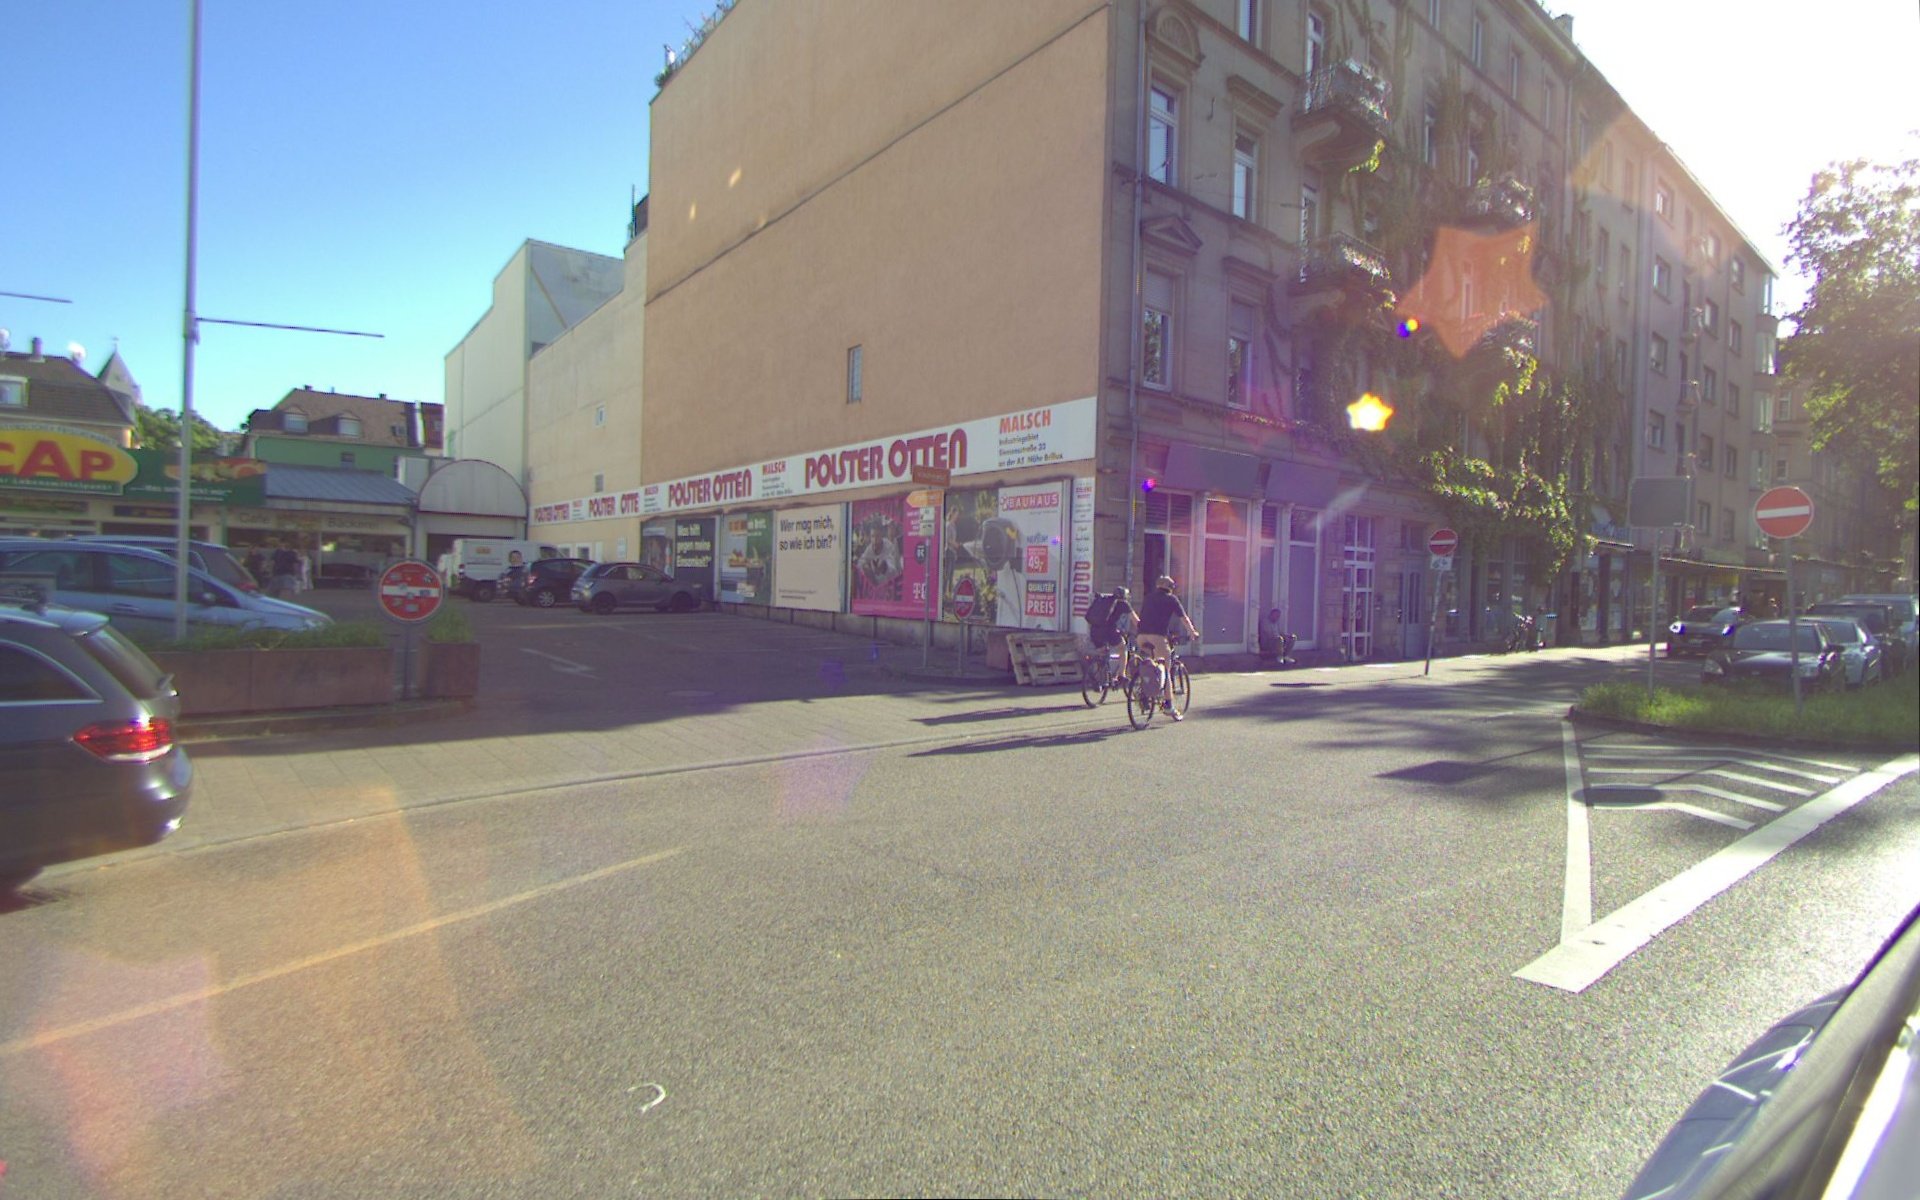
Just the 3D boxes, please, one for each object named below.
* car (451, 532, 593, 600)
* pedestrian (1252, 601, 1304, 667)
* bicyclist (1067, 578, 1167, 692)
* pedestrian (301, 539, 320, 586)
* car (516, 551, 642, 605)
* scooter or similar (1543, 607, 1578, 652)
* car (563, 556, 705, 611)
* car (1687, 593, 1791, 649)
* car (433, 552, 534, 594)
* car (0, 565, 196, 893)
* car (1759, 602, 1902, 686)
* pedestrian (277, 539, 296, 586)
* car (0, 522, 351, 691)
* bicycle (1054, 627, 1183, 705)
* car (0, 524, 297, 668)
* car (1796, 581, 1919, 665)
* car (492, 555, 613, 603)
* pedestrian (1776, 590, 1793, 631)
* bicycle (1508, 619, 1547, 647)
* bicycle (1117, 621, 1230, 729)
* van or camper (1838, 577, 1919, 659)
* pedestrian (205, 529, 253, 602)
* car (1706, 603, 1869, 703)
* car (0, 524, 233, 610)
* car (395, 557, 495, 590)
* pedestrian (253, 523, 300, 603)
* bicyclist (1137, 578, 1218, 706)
[{"bbox_3d":[-16.746,-1.260,38.735,4.785,2.442,1.713,1,1,-30],"label":"car"},{"bbox_3d":[6.400,0.670,20.374,0.701,1.276,0.717,0,1,-40],"label":"pedestrian"},{"bbox_3d":[2.173,0.458,13.989,1.161,1.463,0.678,1,5,-41],"label":"bicyclist"},{"bbox_3d":[-28.893,-1.665,45.022,0.635,2.039,0.562,1,1,-41],"label":"pedestrian"},{"bbox_3d":[-12.448,-0.737,33.127,3.575,1.690,1.682,-1,2,-35],"label":"car"},{"bbox_3d":[17.181,0.819,28.973,0.631,1.188,1.720,2,1,25],"label":"scooter or similar"},{"bbox_3d":[-9.417,-0.501,29.359,3.579,1.481,1.680,-1,2,-39],"label":"car"},{"bbox_3d":[23.228,0.594,30.116,4.305,1.547,1.700,0,0,-42],"label":"car"},{"bbox_3d":[-21.256,-1.212,45.189,3.967,1.759,1.664,1,1,-30],"label":"car"},{"bbox_3d":[-6.438,0.602,4.598,4.650,1.505,1.838,0,4,-40],"label":"car"},{"bbox_3d":[17.687,0.821,20.511,3.932,1.537,1.740,0,-1,-43],"label":"car"},{"bbox_3d":[-29.797,-1.657,44.769,0.635,2.039,0.562,1,1,-41],"label":"pedestrian"},{"bbox_3d":[-9.315,0.036,11.385,3.934,1.665,1.746,0,1,-45],"label":"car"},{"bbox_3d":[2.223,0.887,14.046,1.884,0.931,0.651,0,4,-41],"label":"bicycle"},{"bbox_3d":[-11.256,-0.091,13.371,3.933,1.714,1.747,0,3,-44],"label":"car"},{"bbox_3d":[21.469,0.488,24.001,3.929,1.786,1.868,0,1,-40],"label":"car"},{"bbox_3d":[-13.967,-0.743,34.749,3.575,1.552,1.682,-1,2,-35],"label":"car"},{"bbox_3d":[37.733,0.493,46.319,0.507,1.856,0.469,1,1,-41],"label":"pedestrian"},{"bbox_3d":[15.840,0.909,28.220,1.486,0.714,0.469,1,1,-41],"label":"bicycle"},{"bbox_3d":[2.633,0.858,12.303,0.752,1.116,1.933,2,1,30],"label":"bicycle"},{"bbox_3d":[25.565,0.458,27.521,5.006,2.039,1.887,0,1,-42],"label":"van or camper"},{"bbox_3d":[-18.562,-0.866,25.694,0.907,1.818,0.818,1,1,-40],"label":"pedestrian"},{"bbox_3d":[14.439,0.832,17.580,3.932,1.537,1.642,0,-1,-43],"label":"car"},{"bbox_3d":[-17.399,-0.646,20.766,3.870,1.601,1.659,0,2,-42],"label":"car"},{"bbox_3d":[-23.560,-1.204,46.336,3.922,1.371,1.760,1,1,-33],"label":"car"},{"bbox_3d":[-17.848,-0.945,26.430,0.907,2.039,0.818,1,1,-40],"label":"pedestrian"},{"bbox_3d":[2.665,0.482,12.351,0.740,1.480,0.942,0,0,29],"label":"bicyclist"}]
